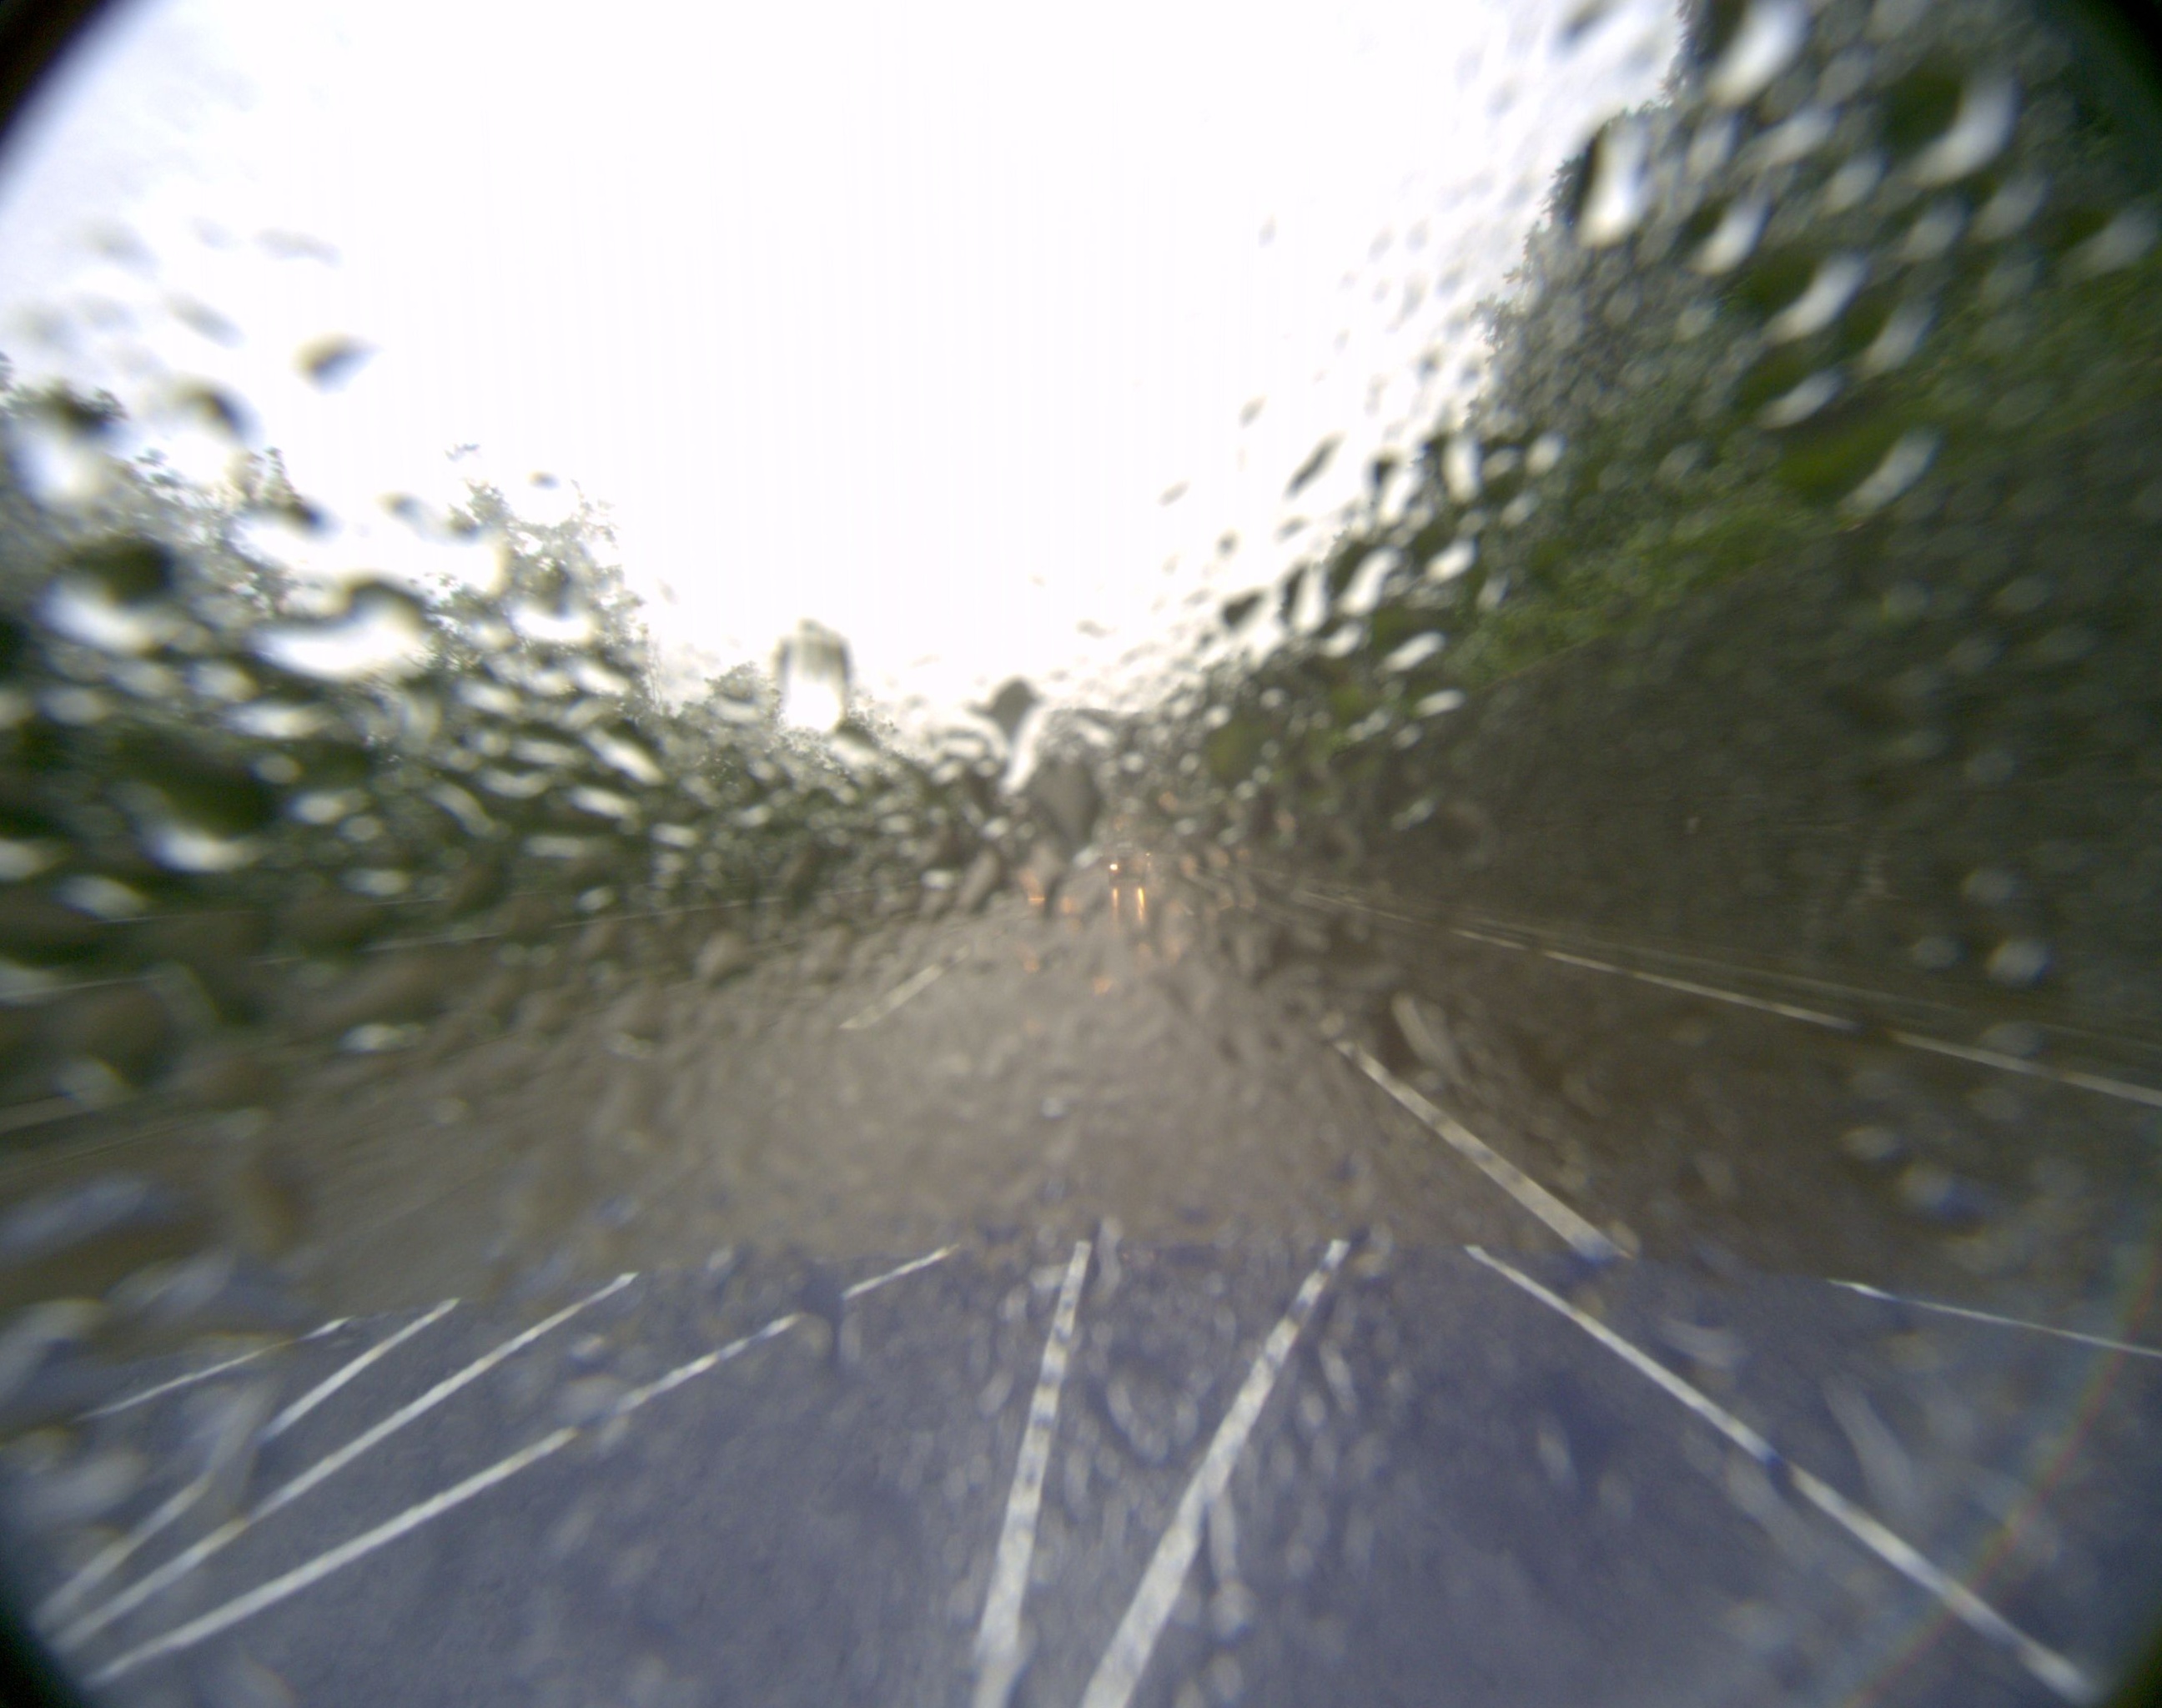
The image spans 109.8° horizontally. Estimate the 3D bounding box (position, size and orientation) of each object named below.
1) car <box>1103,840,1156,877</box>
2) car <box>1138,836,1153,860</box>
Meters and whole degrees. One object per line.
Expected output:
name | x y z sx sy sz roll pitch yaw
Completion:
car | 2.509 0.151 38.179 2.359 1.549 5.500 -4 1 6
car | 8.558 -0.804 101.369 1.741 3.008 4.000 -3 1 4
